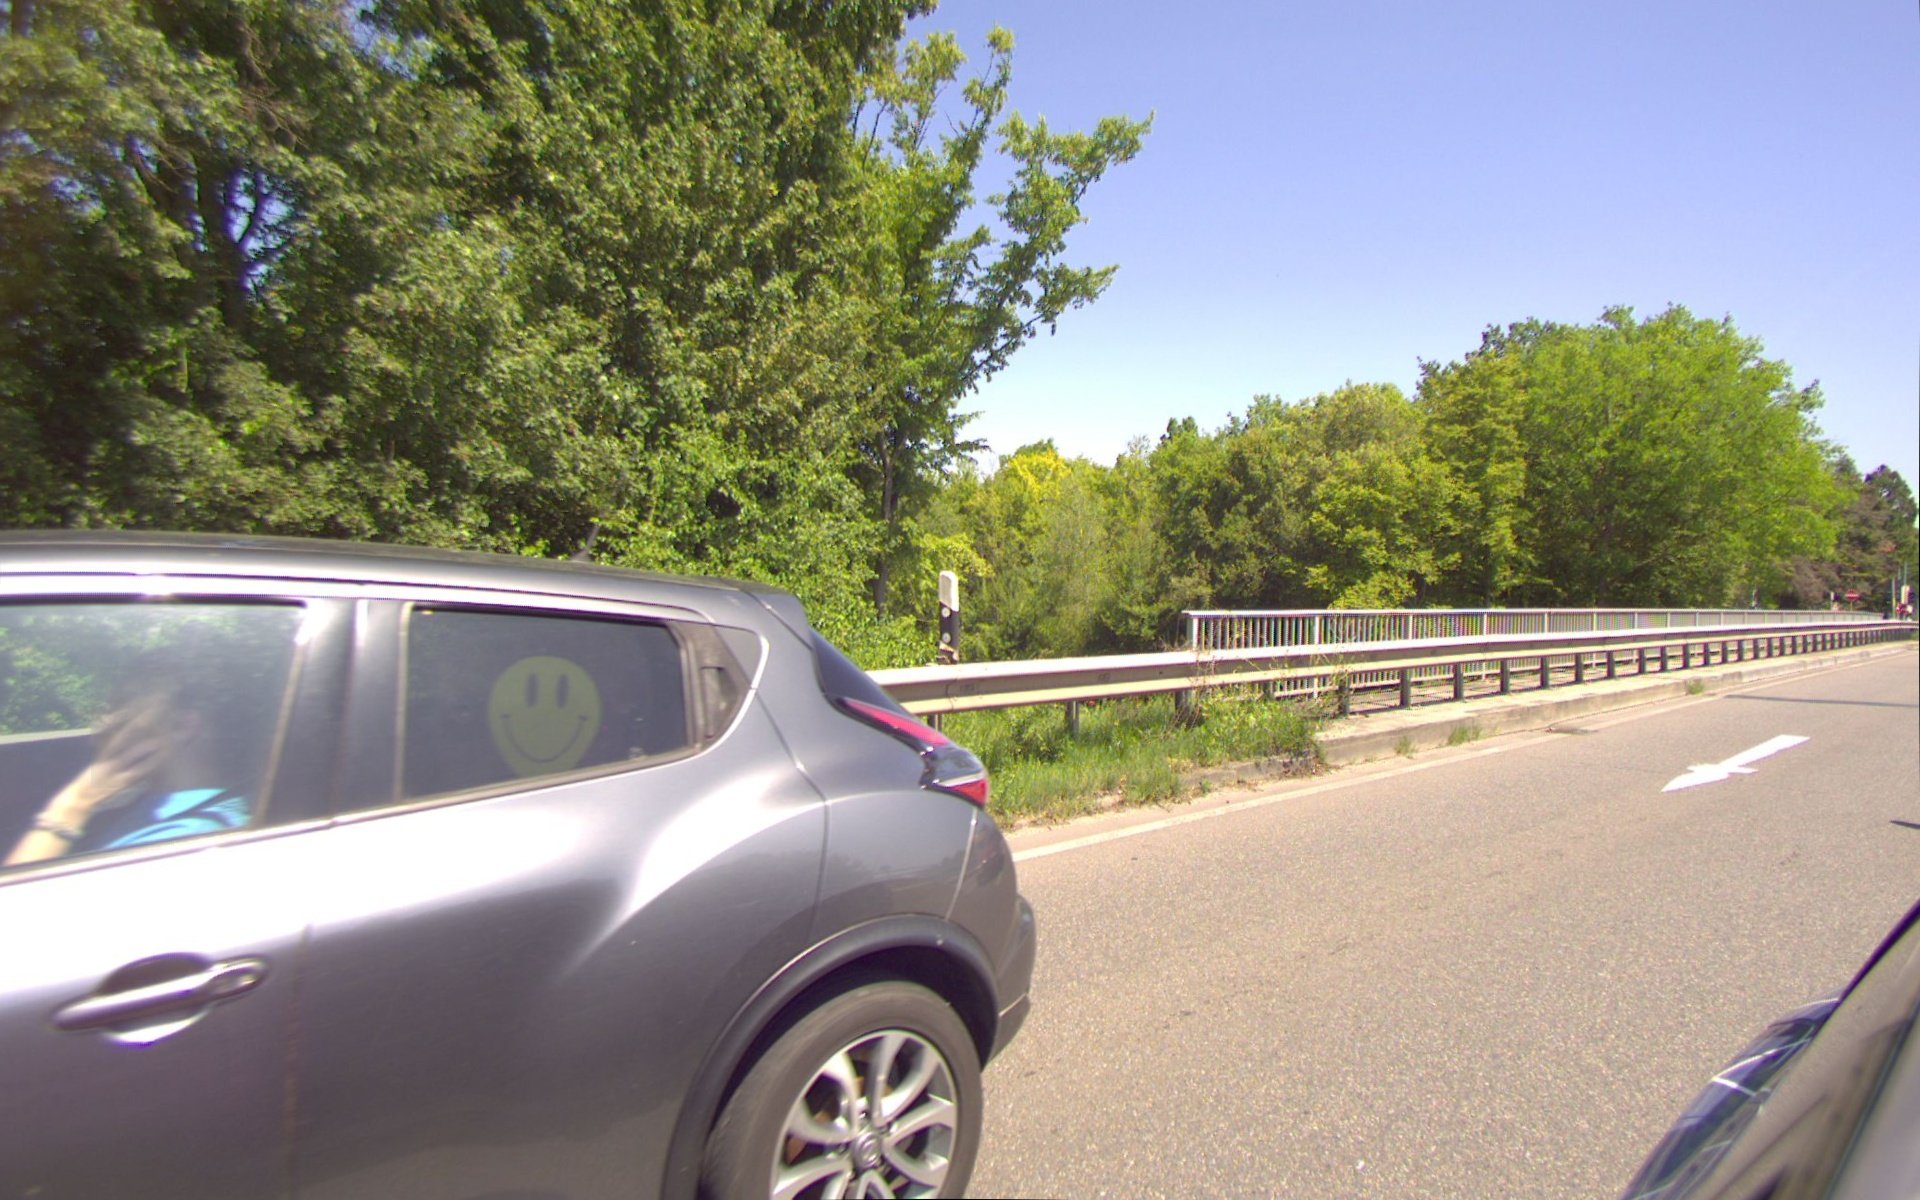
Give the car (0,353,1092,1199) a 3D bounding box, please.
[{"bbox_3d":[-1.768,0.552,1.838,3.930,1.706,1.847,0,1,-41],"label":"car"}]
